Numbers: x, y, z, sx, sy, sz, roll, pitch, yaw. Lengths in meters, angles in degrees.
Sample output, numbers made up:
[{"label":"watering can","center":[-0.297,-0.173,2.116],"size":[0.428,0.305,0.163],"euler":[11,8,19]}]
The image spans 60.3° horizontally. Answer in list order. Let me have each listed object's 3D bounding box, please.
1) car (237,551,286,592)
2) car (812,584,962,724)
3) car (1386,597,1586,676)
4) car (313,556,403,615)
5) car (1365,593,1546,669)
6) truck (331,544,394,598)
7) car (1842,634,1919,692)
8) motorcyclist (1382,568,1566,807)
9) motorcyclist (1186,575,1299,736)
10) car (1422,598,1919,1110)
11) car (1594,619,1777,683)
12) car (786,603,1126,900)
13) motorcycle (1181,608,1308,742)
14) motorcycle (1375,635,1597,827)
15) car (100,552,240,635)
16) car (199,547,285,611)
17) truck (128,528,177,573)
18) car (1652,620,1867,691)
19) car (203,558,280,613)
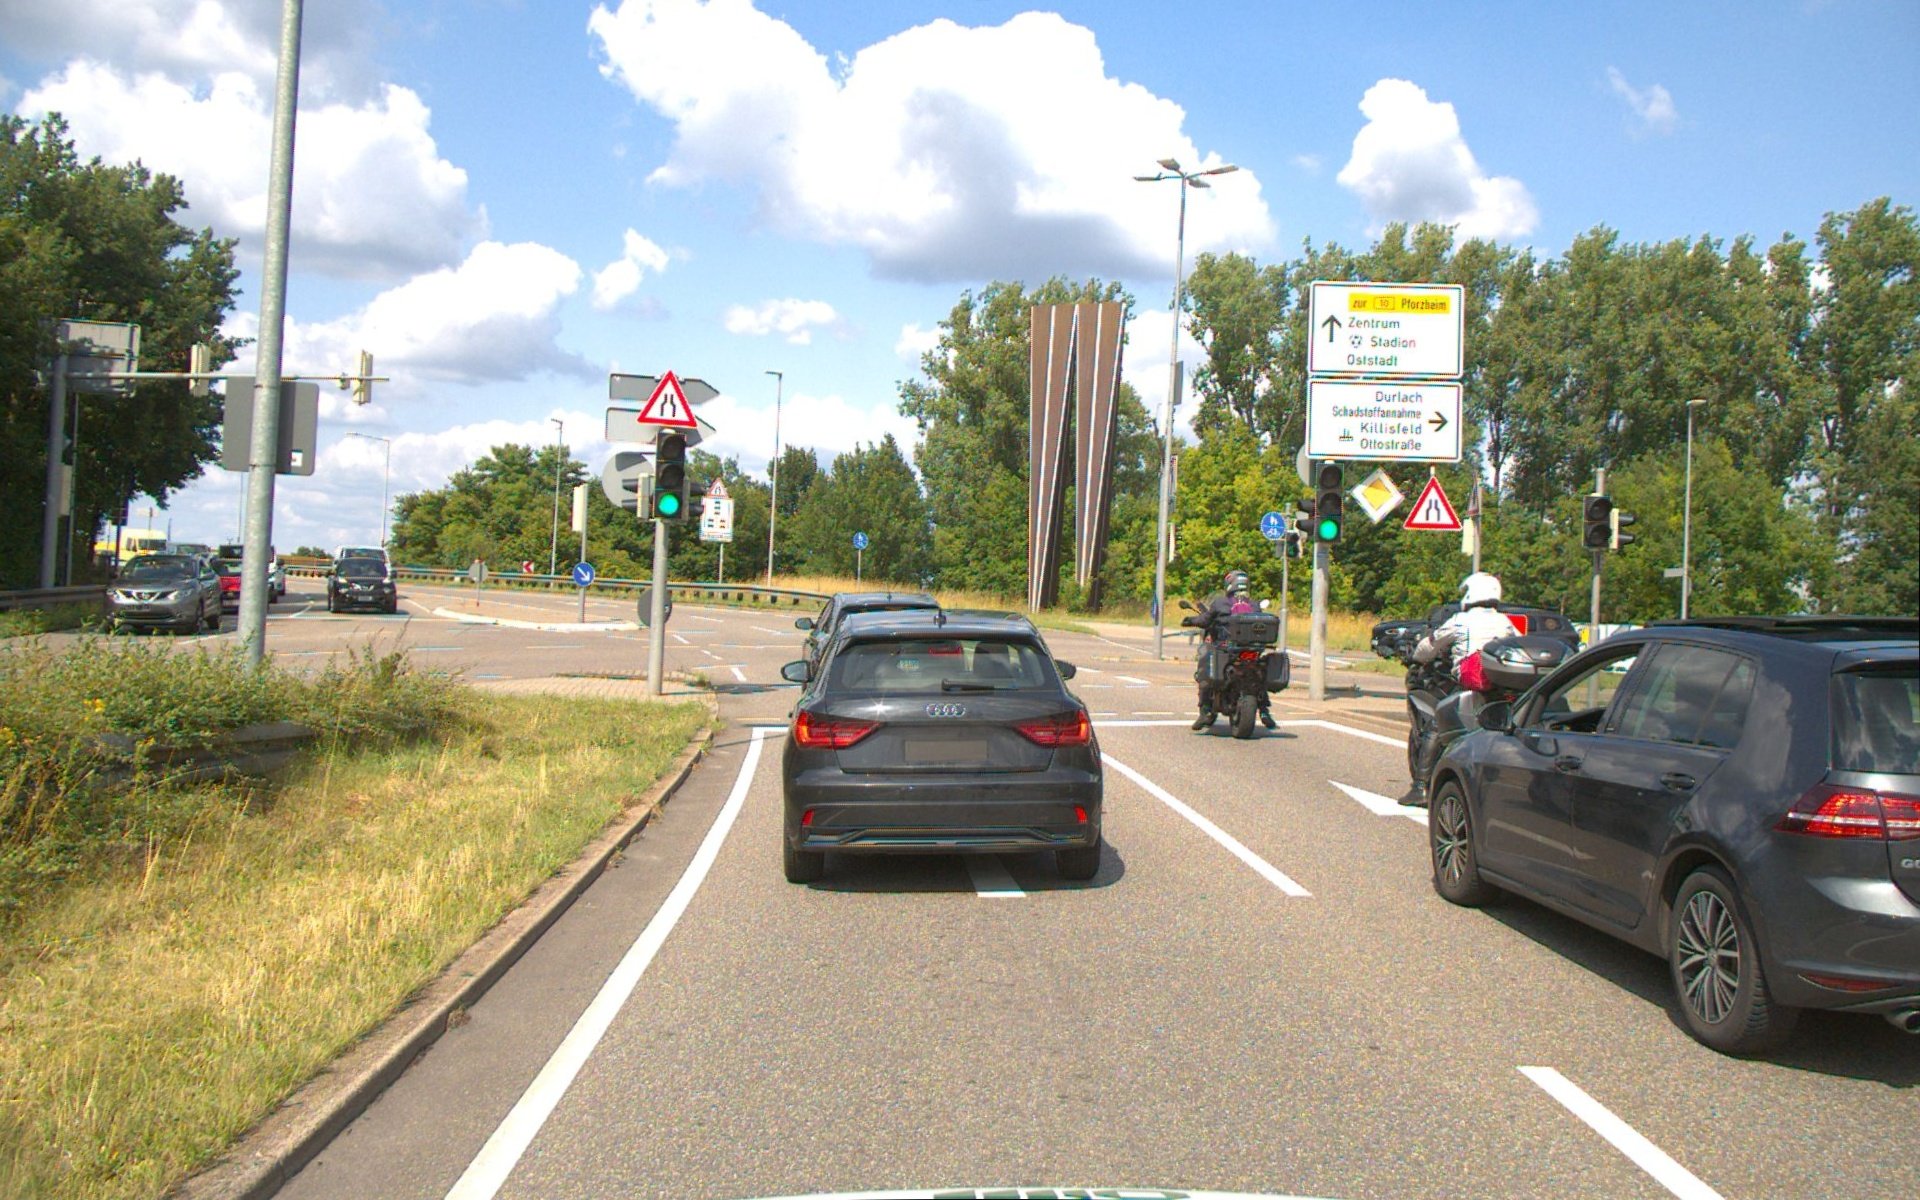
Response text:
[{"label":"car","center":[-27.603,-1.130,65.273],"size":[1.710,1.547,4.037],"euler":[0,1,-24]},{"label":"car","center":[-0.880,0.582,20.043],"size":[1.609,1.504,3.870],"euler":[1,0,-2]},{"label":"car","center":[12.673,0.867,40.006],"size":[4.196,1.645,1.844],"euler":[3,-1,-3]},{"label":"car","center":[-17.479,-0.430,47.916],"size":[1.681,1.584,3.781],"euler":[1,1,-32]},{"label":"car","center":[12.954,0.796,43.383],"size":[4.119,1.674,1.837],"euler":[3,1,-3]},{"label":"truck","center":[-23.196,-1.150,64.097],"size":[1.935,1.946,5.331],"euler":[1,1,-24]},{"label":"car","center":[26.177,1.757,44.387],"size":[4.119,1.399,1.700],"euler":[3,1,-3]},{"label":"motorcyclist","center":[3.752,0.611,12.174],"size":[0.946,1.648,1.124],"euler":[2,0,-1]},{"label":"motorcyclist","center":[2.974,0.568,17.528],"size":[0.946,1.624,1.124],"euler":[2,0,-1]},{"label":"car","center":[3.355,0.772,6.902],"size":[1.609,1.504,3.870],"euler":[1,0,-2]},{"label":"car","center":[19.332,1.348,44.144],"size":[4.119,1.399,1.645],"euler":[3,1,-3]},{"label":"car","center":[-0.043,0.744,9.945],"size":[1.647,1.412,3.738],"euler":[0,0,-1]},{"label":"motorcycle","center":[2.983,0.749,17.596],"size":[0.869,1.269,2.399],"euler":[2,1,-1]},{"label":"motorcycle","center":[3.721,0.878,11.947],"size":[0.773,1.151,2.399],"euler":[2,1,-1]},{"label":"car","center":[-16.400,-0.157,34.552],"size":[1.680,1.613,4.269],"euler":[0,1,-12]},{"label":"car","center":[-24.115,-0.701,55.434],"size":[1.974,2.049,5.080],"euler":[-1,1,-32]},{"label":"truck","center":[-49.402,-3.040,101.276],"size":[1.964,2.666,6.070],"euler":[0,2,-20]},{"label":"car","center":[19.407,1.329,40.238],"size":[4.438,1.399,1.645],"euler":[3,1,-3]},{"label":"car","center":[-20.031,-0.412,46.224],"size":[1.556,1.457,3.980],"euler":[0,1,-18]}]
